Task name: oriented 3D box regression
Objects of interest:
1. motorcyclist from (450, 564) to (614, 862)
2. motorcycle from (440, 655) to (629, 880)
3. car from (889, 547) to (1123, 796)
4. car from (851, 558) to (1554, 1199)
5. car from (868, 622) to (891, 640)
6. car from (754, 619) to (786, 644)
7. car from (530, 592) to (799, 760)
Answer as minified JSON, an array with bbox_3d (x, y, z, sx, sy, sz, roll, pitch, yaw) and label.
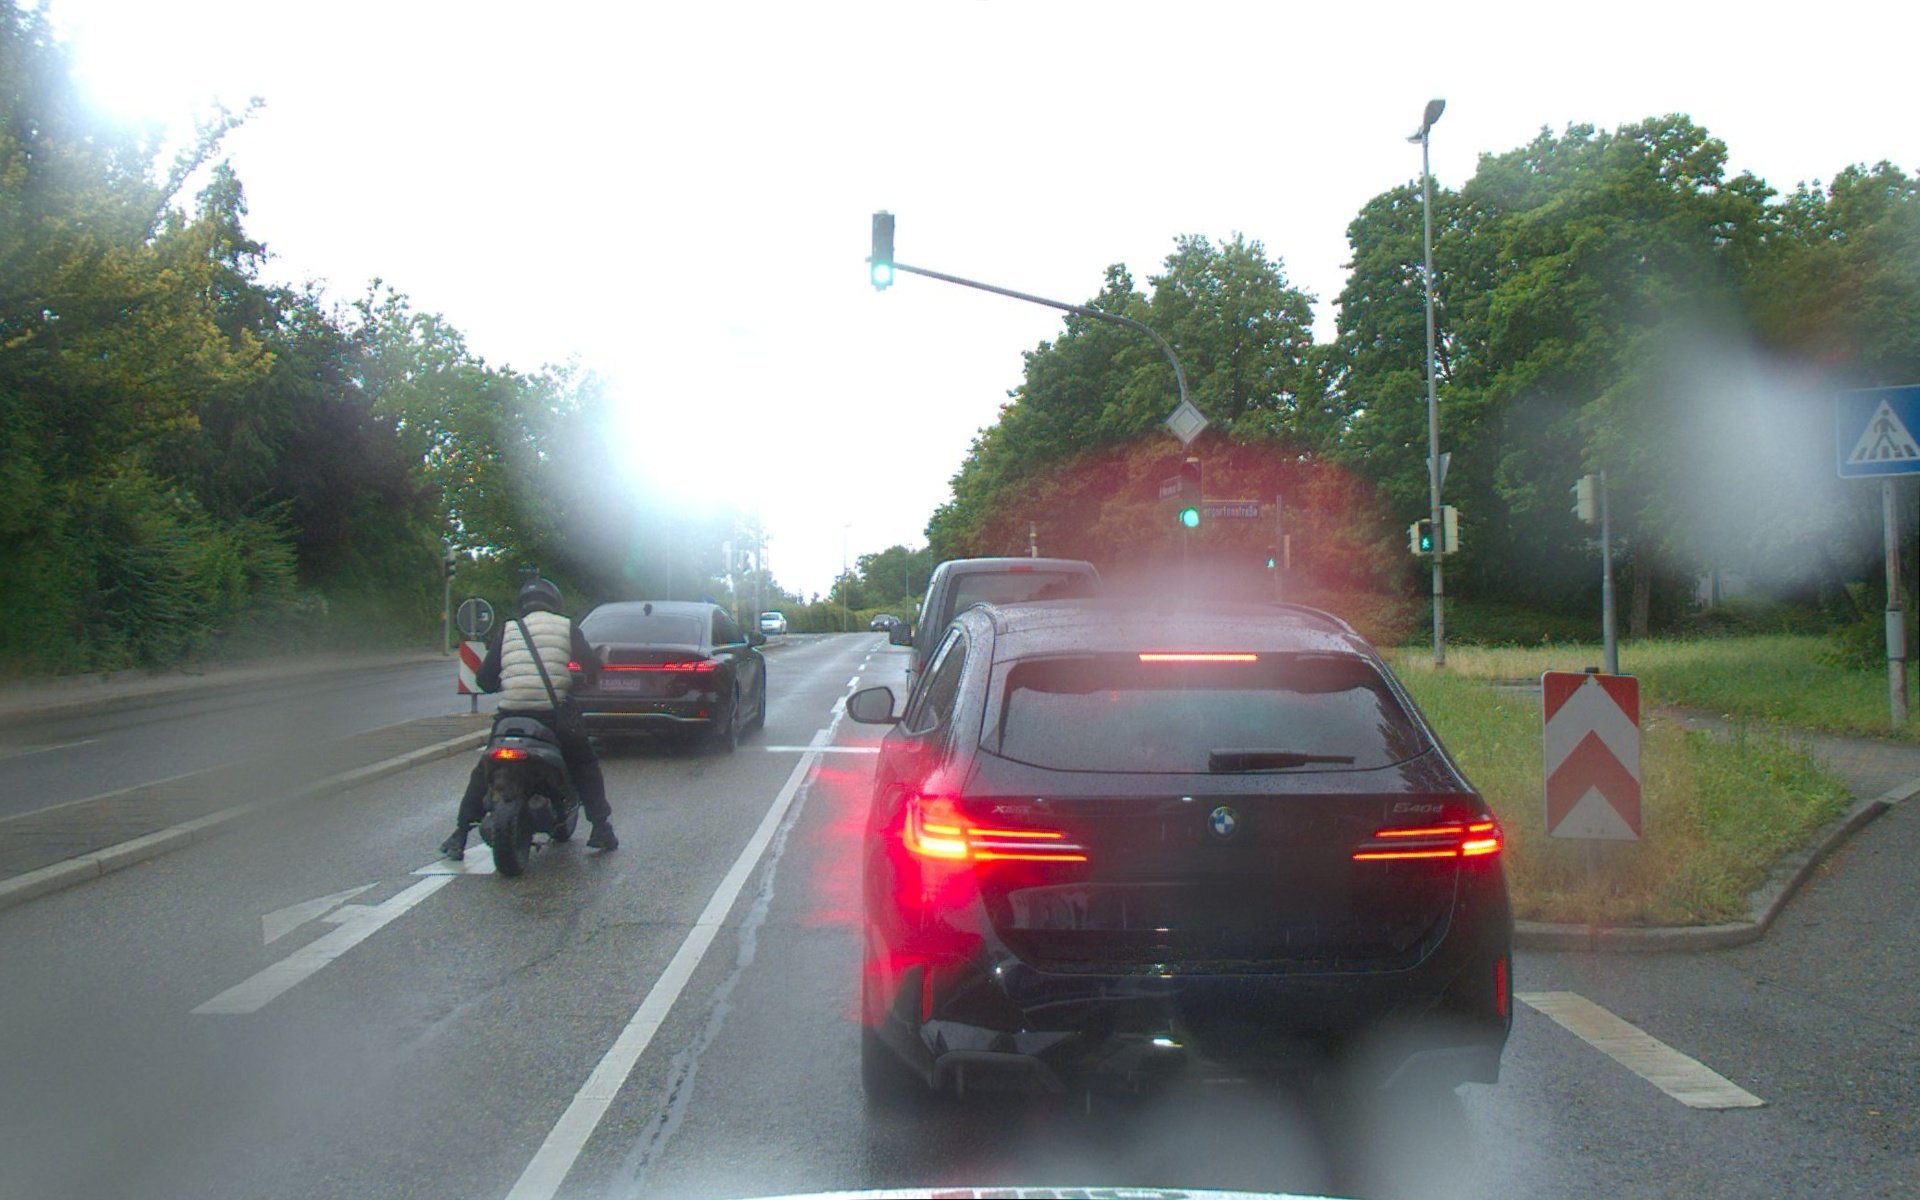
[{"bbox_3d":[-2.464,0.635,9.567,0.828,1.676,0.468,0,0,-1],"label":"motorcyclist"},{"bbox_3d":[-2.408,0.918,9.526,0.726,1.139,1.426,1,0,-1],"label":"motorcycle"},{"bbox_3d":[0.314,0.515,14.242,1.731,1.841,3.904,0,0,-1],"label":"car"},{"bbox_3d":[0.576,0.705,5.905,1.728,1.563,3.672,0,-1,-1],"label":"car"},{"bbox_3d":[-7.270,2.780,149.279,1.984,1.590,3.875,-2,0,-2],"label":"car"},{"bbox_3d":[-12.454,2.068,108.628,1.693,1.511,4.155,-2,0,-2],"label":"car"},{"bbox_3d":[-2.810,0.654,16.757,1.974,1.440,4.485,0,1,-1],"label":"car"}]
